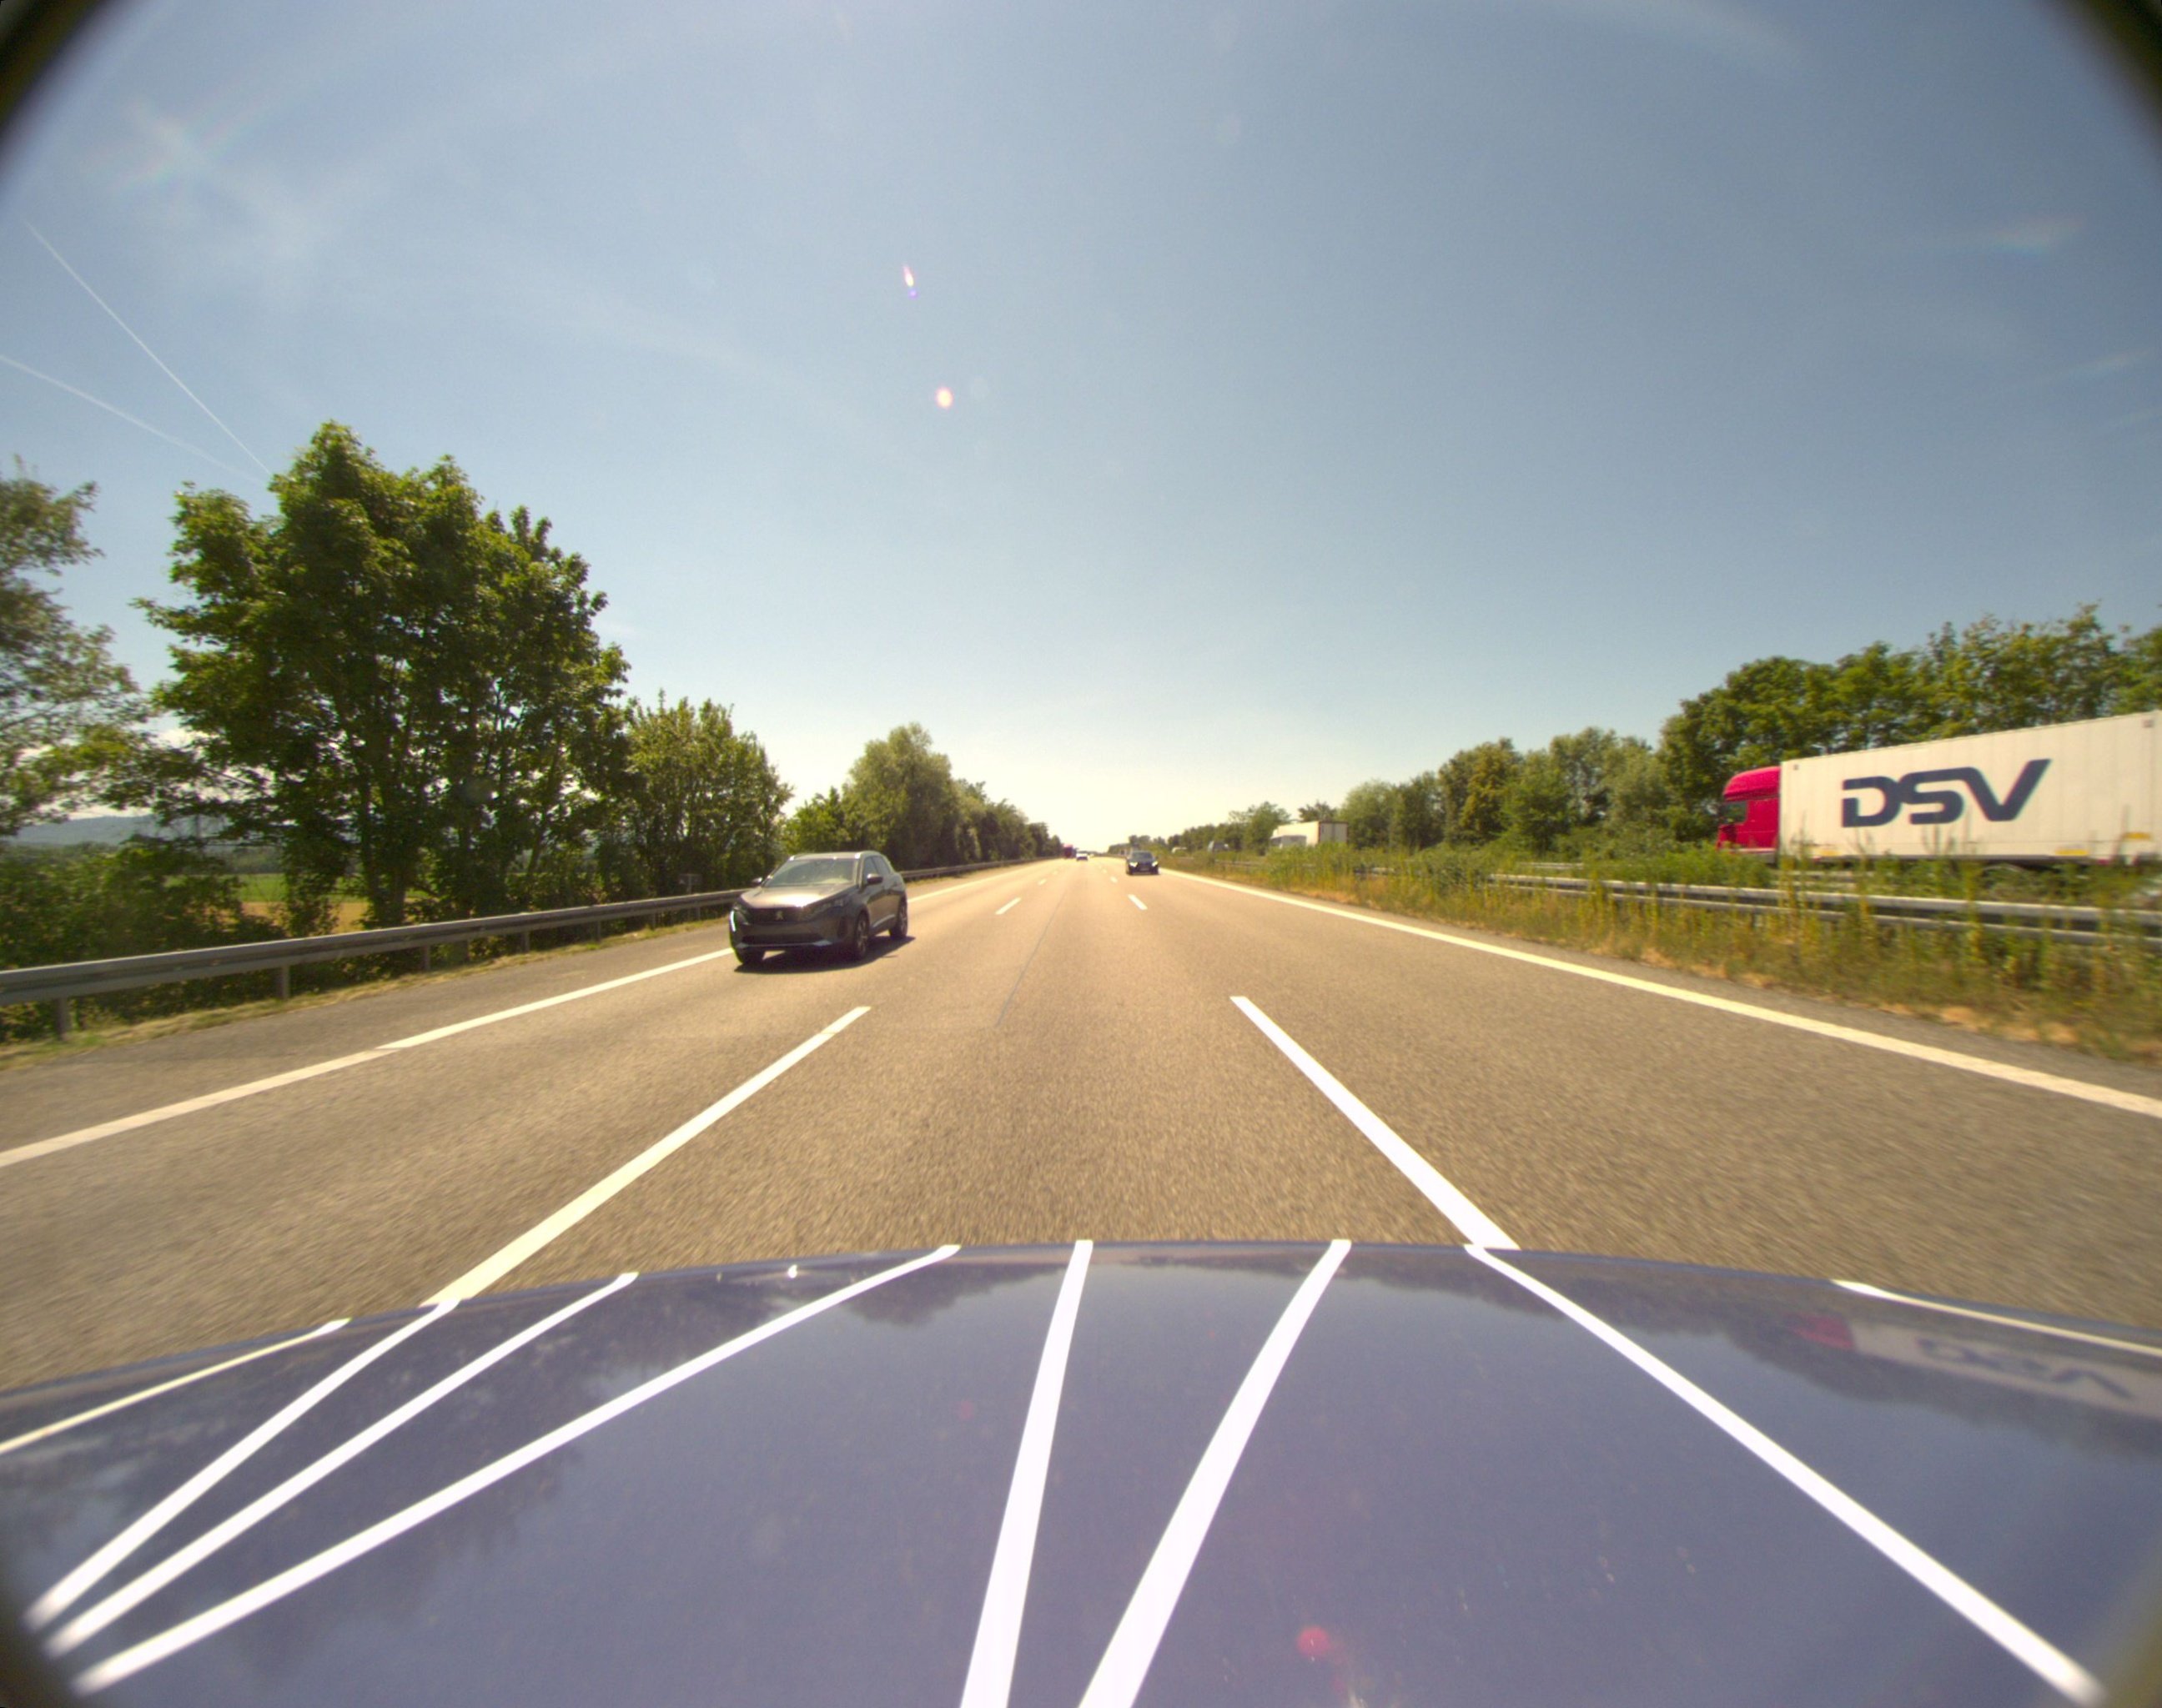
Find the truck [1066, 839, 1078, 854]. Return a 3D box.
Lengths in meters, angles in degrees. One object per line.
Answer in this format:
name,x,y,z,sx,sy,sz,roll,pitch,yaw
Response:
truck,-2.574,-2.025,212.387,2.938,3.933,10.260,-3,0,1

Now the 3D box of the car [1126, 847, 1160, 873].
car,3.753,0.344,46.579,1.737,1.433,4.000,-3,0,1

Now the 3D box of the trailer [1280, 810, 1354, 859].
trailer,21.679,-1.626,70.832,3.055,4.015,12.234,-2,0,0

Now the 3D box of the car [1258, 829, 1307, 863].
car,17.522,-0.688,66.410,2.334,2.806,6.606,-1,0,-1

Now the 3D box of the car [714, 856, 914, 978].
car,-4.129,0.872,12.524,1.850,1.619,4.134,-1,0,-1

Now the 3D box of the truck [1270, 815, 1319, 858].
truck,21.727,-1.660,77.669,3.079,4.087,6.525,-3,0,0

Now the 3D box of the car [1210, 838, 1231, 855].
car,21.569,-1.161,117.492,2.108,2.449,6.015,-1,0,0

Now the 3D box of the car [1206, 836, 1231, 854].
car,18.103,-1.151,100.109,2.215,2.349,5.297,-1,1,-1

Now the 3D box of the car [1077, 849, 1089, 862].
car,0.338,0.273,132.688,1.998,2.002,4.756,-3,0,0

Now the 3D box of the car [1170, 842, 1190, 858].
car,13.509,-0.535,104.088,1.930,2.108,5.277,-1,0,-1

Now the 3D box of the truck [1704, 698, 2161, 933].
truck,21.329,-0.724,18.789,3.079,4.285,10.627,-3,0,1

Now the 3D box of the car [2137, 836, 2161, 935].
car,16.636,0.415,9.336,1.610,1.433,4.043,-3,0,-2
